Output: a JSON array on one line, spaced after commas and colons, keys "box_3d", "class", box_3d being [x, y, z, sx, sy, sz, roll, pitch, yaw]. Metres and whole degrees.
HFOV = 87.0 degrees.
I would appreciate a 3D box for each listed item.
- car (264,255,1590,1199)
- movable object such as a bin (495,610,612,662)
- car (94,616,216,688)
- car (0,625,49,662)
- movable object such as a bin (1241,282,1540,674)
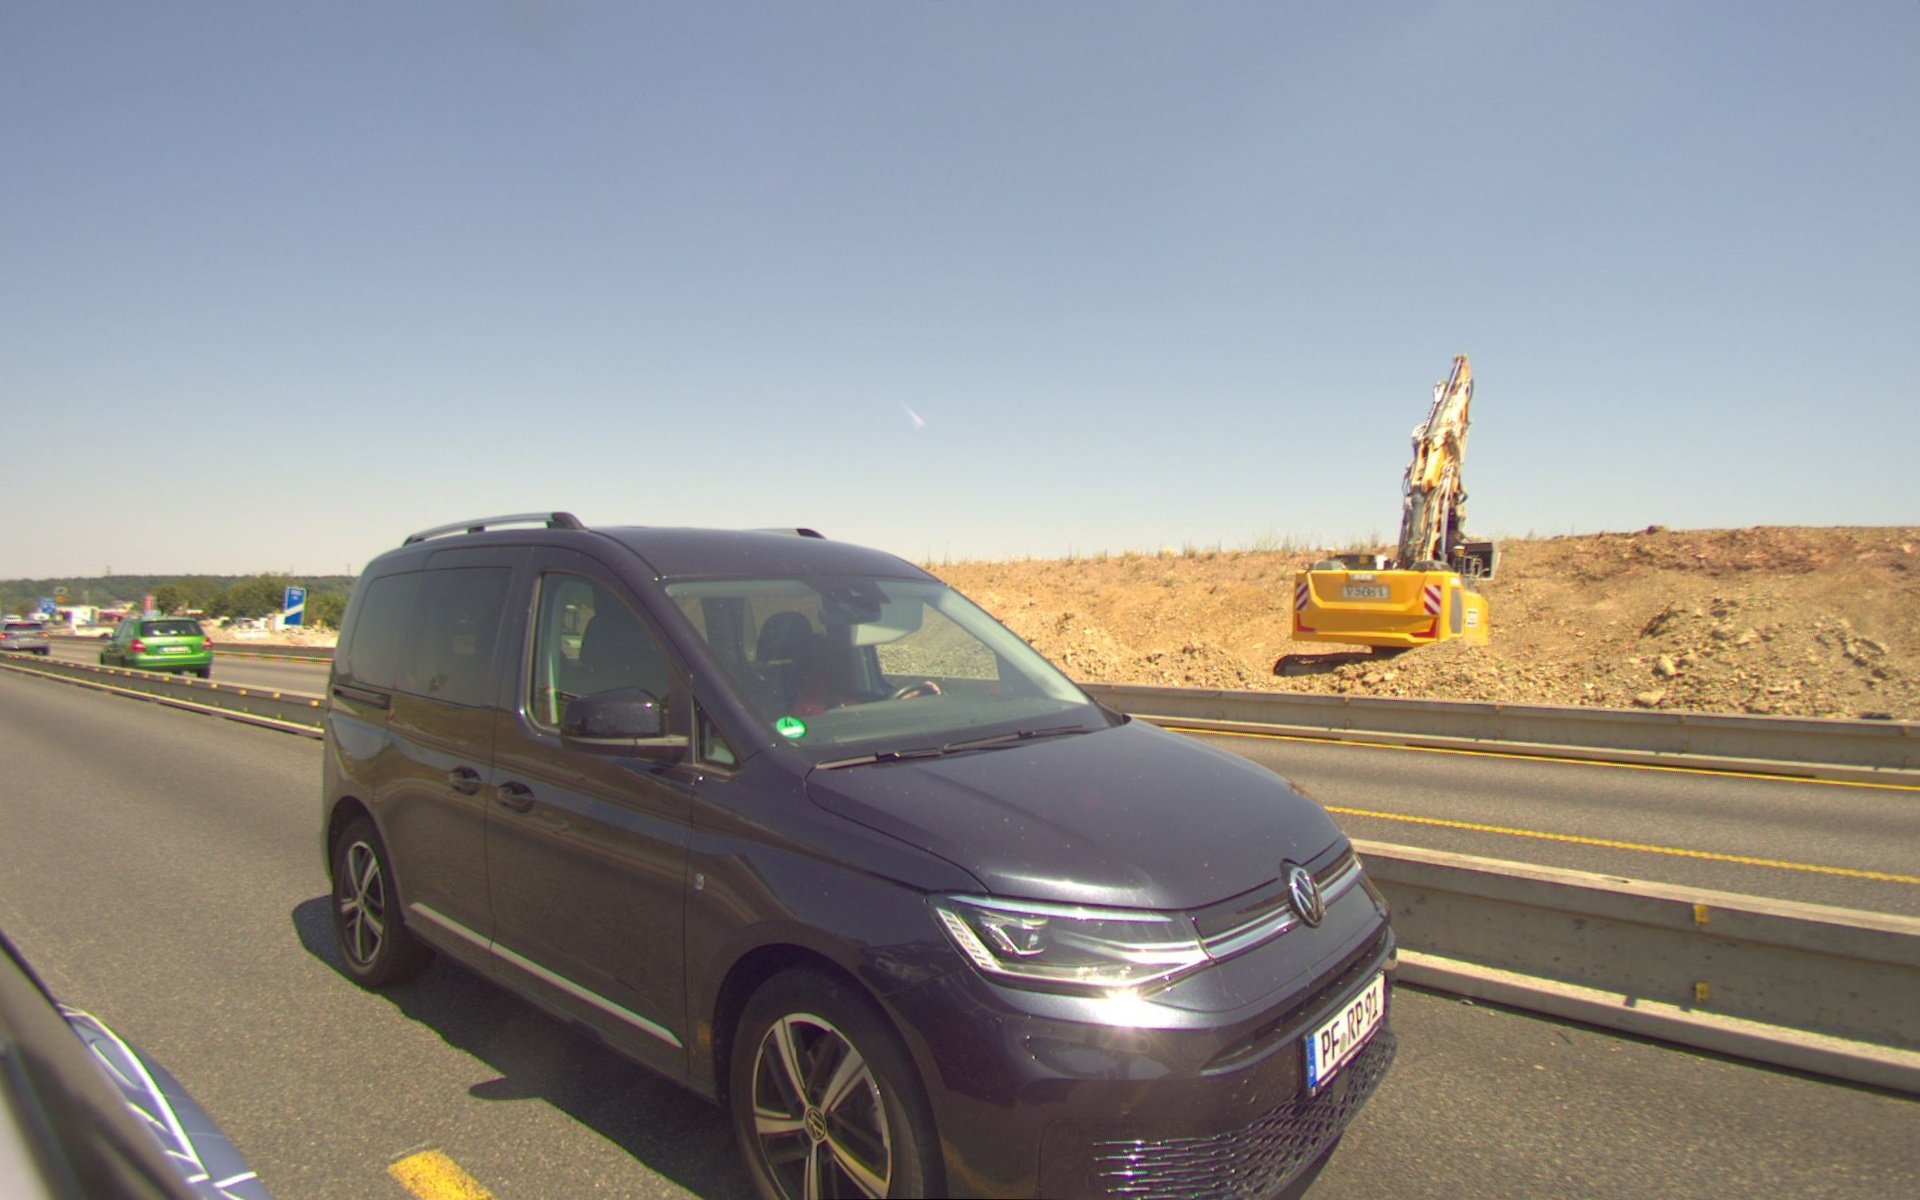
[{"box_3d": [-0.727, 0.513, 3.583, 4.780, 1.838, 1.733, -2, -1, 41], "class": "car"}, {"box_3d": [-18.143, 1.527, 44.951, 6.141, 2.150, 2.291, -1, 0, 41], "class": "movable object such as a bin"}, {"box_3d": [-19.081, 1.195, 23.944, 3.404, 1.537, 1.675, -2, -1, 41], "class": "car"}, {"box_3d": [-38.766, 1.784, 41.516, 3.404, 1.412, 1.685, -2, -1, 41], "class": "car"}, {"box_3d": [9.817, -2.238, 22.583, 4.079, 7.167, 7.284, -1, 0, 41], "class": "movable object such as a bin"}]
